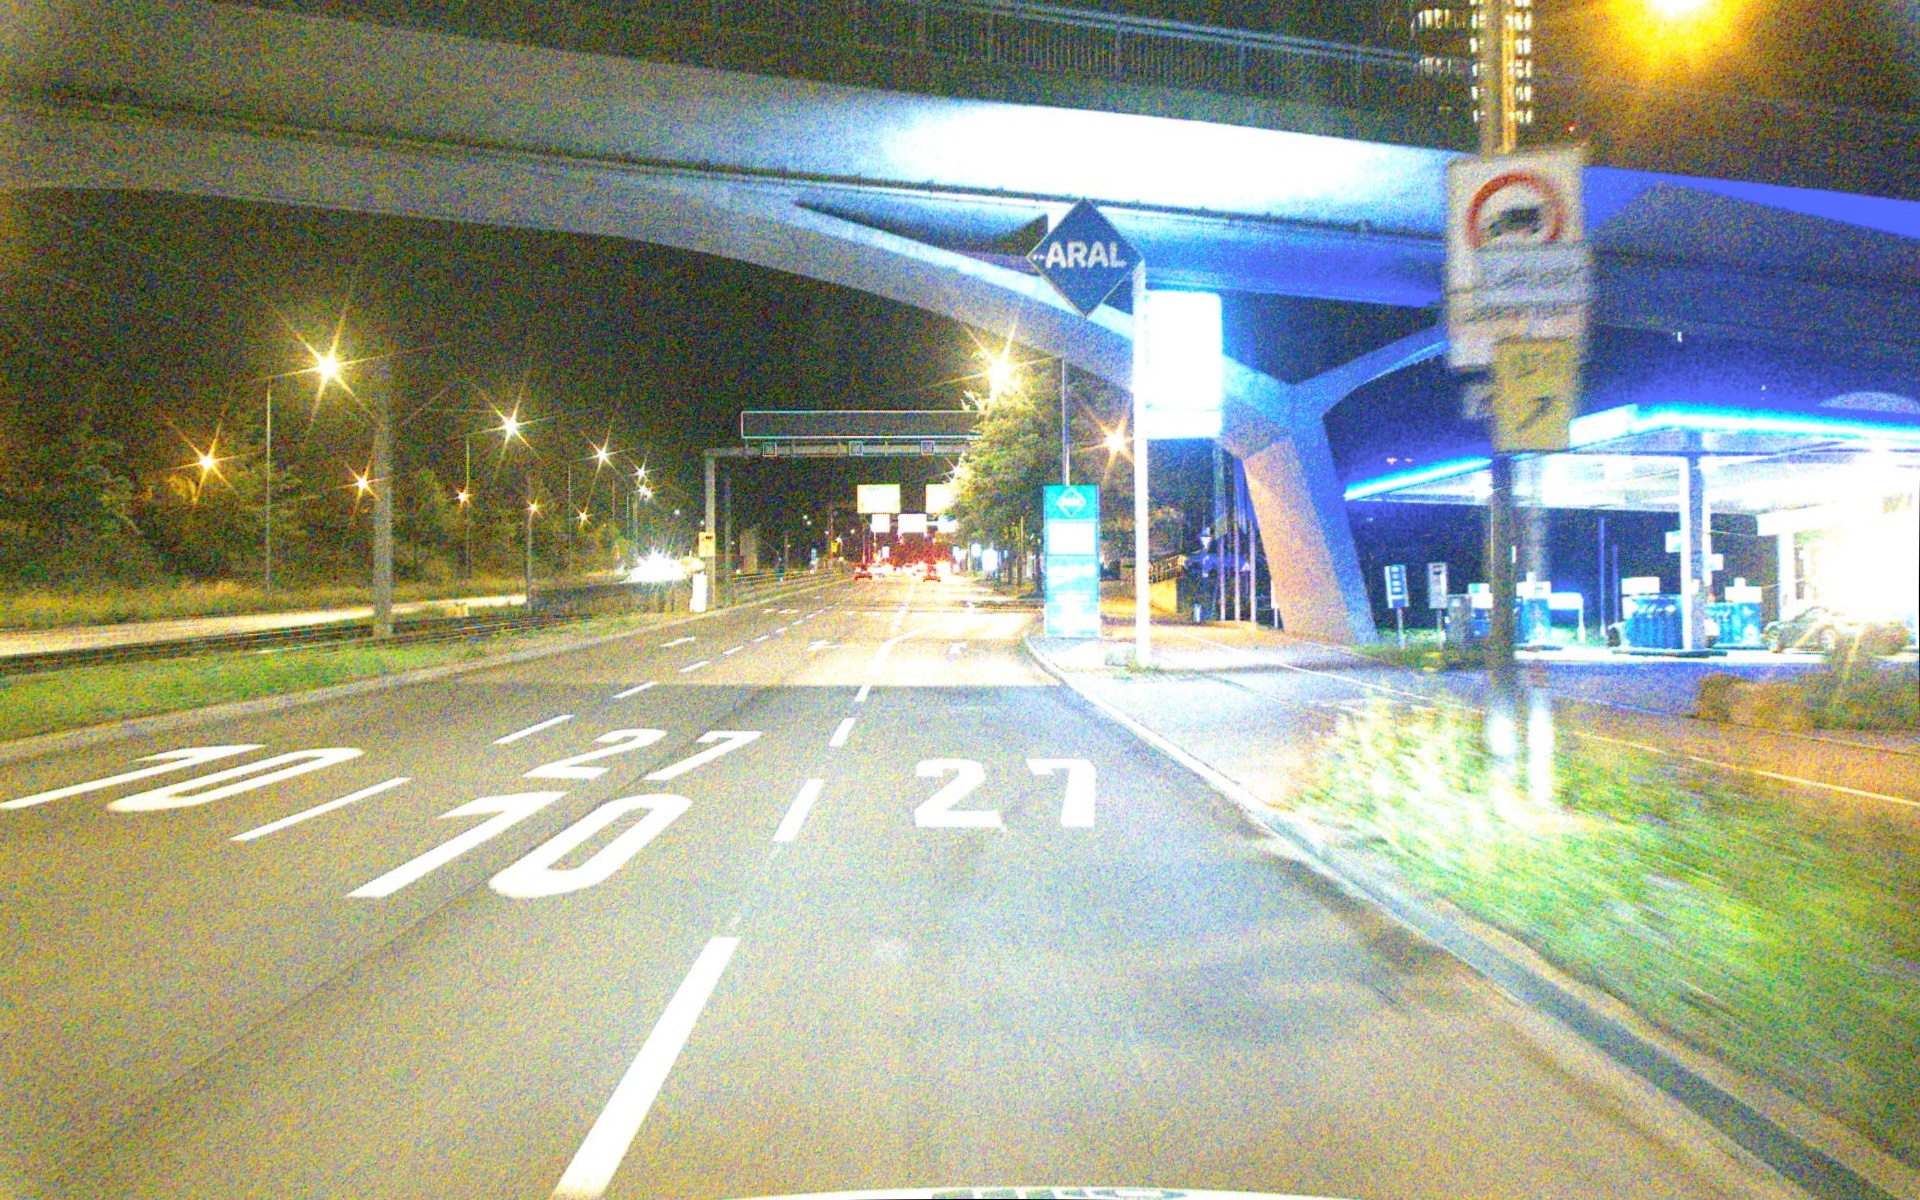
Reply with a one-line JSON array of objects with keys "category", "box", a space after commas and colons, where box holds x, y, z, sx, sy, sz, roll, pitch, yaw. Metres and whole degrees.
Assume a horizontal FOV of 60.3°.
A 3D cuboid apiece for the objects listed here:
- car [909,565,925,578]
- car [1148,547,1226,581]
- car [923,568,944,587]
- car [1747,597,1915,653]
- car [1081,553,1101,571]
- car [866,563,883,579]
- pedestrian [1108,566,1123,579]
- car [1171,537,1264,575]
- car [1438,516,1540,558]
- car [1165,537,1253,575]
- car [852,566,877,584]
[{"category": "car", "box": [-5.628, -3.759, 216.229, 1.963, 1.579, 4.295, 1, 0, 1]}, {"category": "car", "box": [11.544, -1.828, 84.218, 3.650, 1.515, 1.741, -2, -1, -3]}, {"category": "car", "box": [-2.582, -2.238, 162.983, 1.927, 1.741, 4.000, 1, 0, 1]}, {"category": "car", "box": [22.716, 0.633, 43.337, 1.889, 1.387, 4.330, 0, 0, -5]}, {"category": "car", "box": [12.794, -3.707, 161.696, 1.852, 1.538, 3.638, 1, 0, 5]}, {"category": "car", "box": [-10.085, -3.386, 195.731, 1.748, 1.741, 3.994, 1, 0, -6]}, {"category": "pedestrian", "box": [12.476, -2.185, 132.521, 0.982, 1.025, 0.768, 1, 0, -17]}, {"category": "car", "box": [11.955, -2.030, 76.974, 4.035, 1.549, 1.822, -2, -1, 0]}, {"category": "car", "box": [26.722, -3.158, 83.626, 4.486, 1.943, 1.998, -2, 0, -4]}, {"category": "car", "box": [11.909, -2.106, 79.280, 3.905, 1.598, 1.738, -2, 0, 0]}, {"category": "car", "box": [-9.899, -2.552, 171.565, 1.933, 1.741, 3.988, 1, 0, -12]}]
